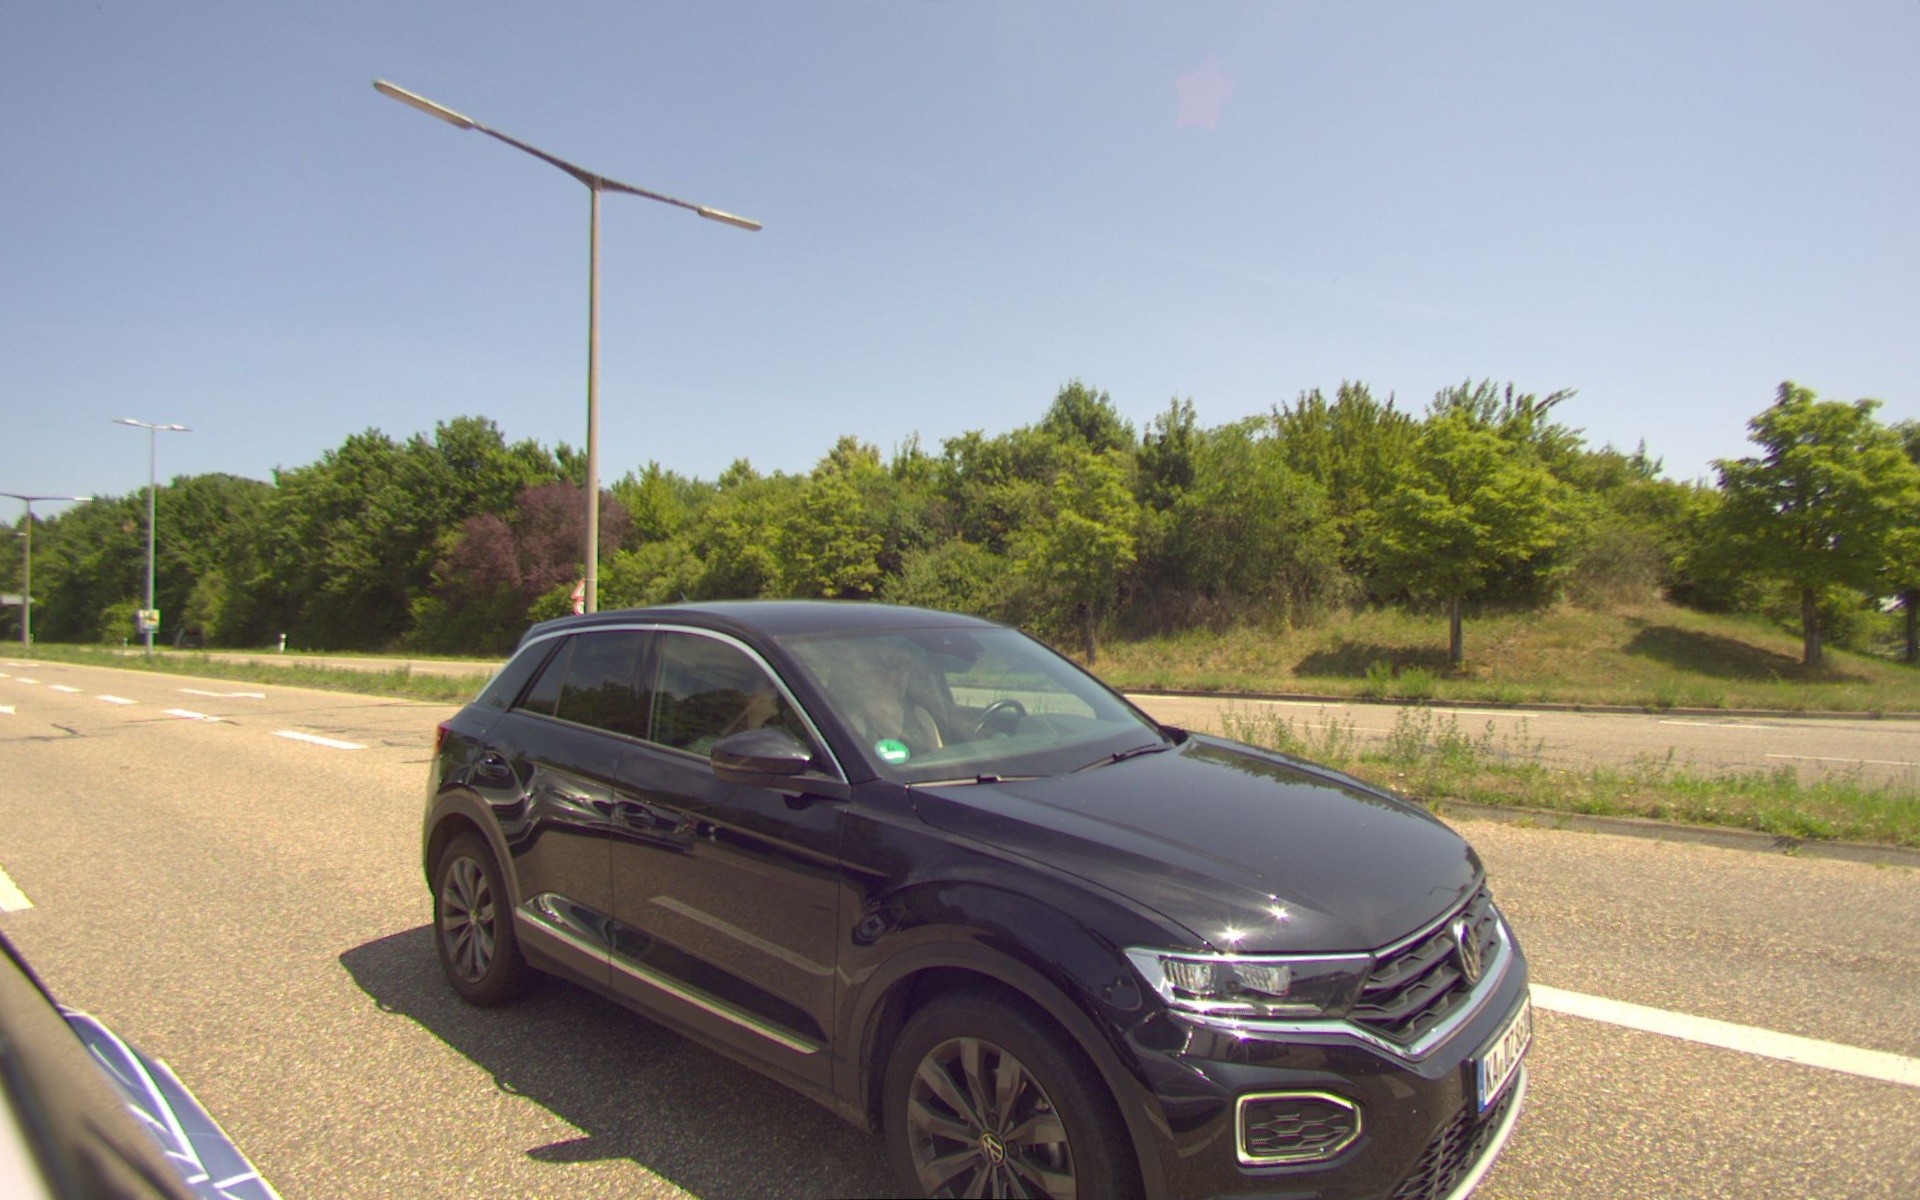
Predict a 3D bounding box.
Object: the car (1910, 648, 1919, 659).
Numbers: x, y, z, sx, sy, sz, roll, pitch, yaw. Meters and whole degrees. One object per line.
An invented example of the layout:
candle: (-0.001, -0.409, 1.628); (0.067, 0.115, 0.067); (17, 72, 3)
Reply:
car: (115.511, 6.406, 121.148); (1.697, 1.346, 3.957); (-1, -2, 31)

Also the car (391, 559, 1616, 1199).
car: (-0.253, 0.715, 3.442); (3.969, 1.523, 1.716); (-1, 0, 41)
